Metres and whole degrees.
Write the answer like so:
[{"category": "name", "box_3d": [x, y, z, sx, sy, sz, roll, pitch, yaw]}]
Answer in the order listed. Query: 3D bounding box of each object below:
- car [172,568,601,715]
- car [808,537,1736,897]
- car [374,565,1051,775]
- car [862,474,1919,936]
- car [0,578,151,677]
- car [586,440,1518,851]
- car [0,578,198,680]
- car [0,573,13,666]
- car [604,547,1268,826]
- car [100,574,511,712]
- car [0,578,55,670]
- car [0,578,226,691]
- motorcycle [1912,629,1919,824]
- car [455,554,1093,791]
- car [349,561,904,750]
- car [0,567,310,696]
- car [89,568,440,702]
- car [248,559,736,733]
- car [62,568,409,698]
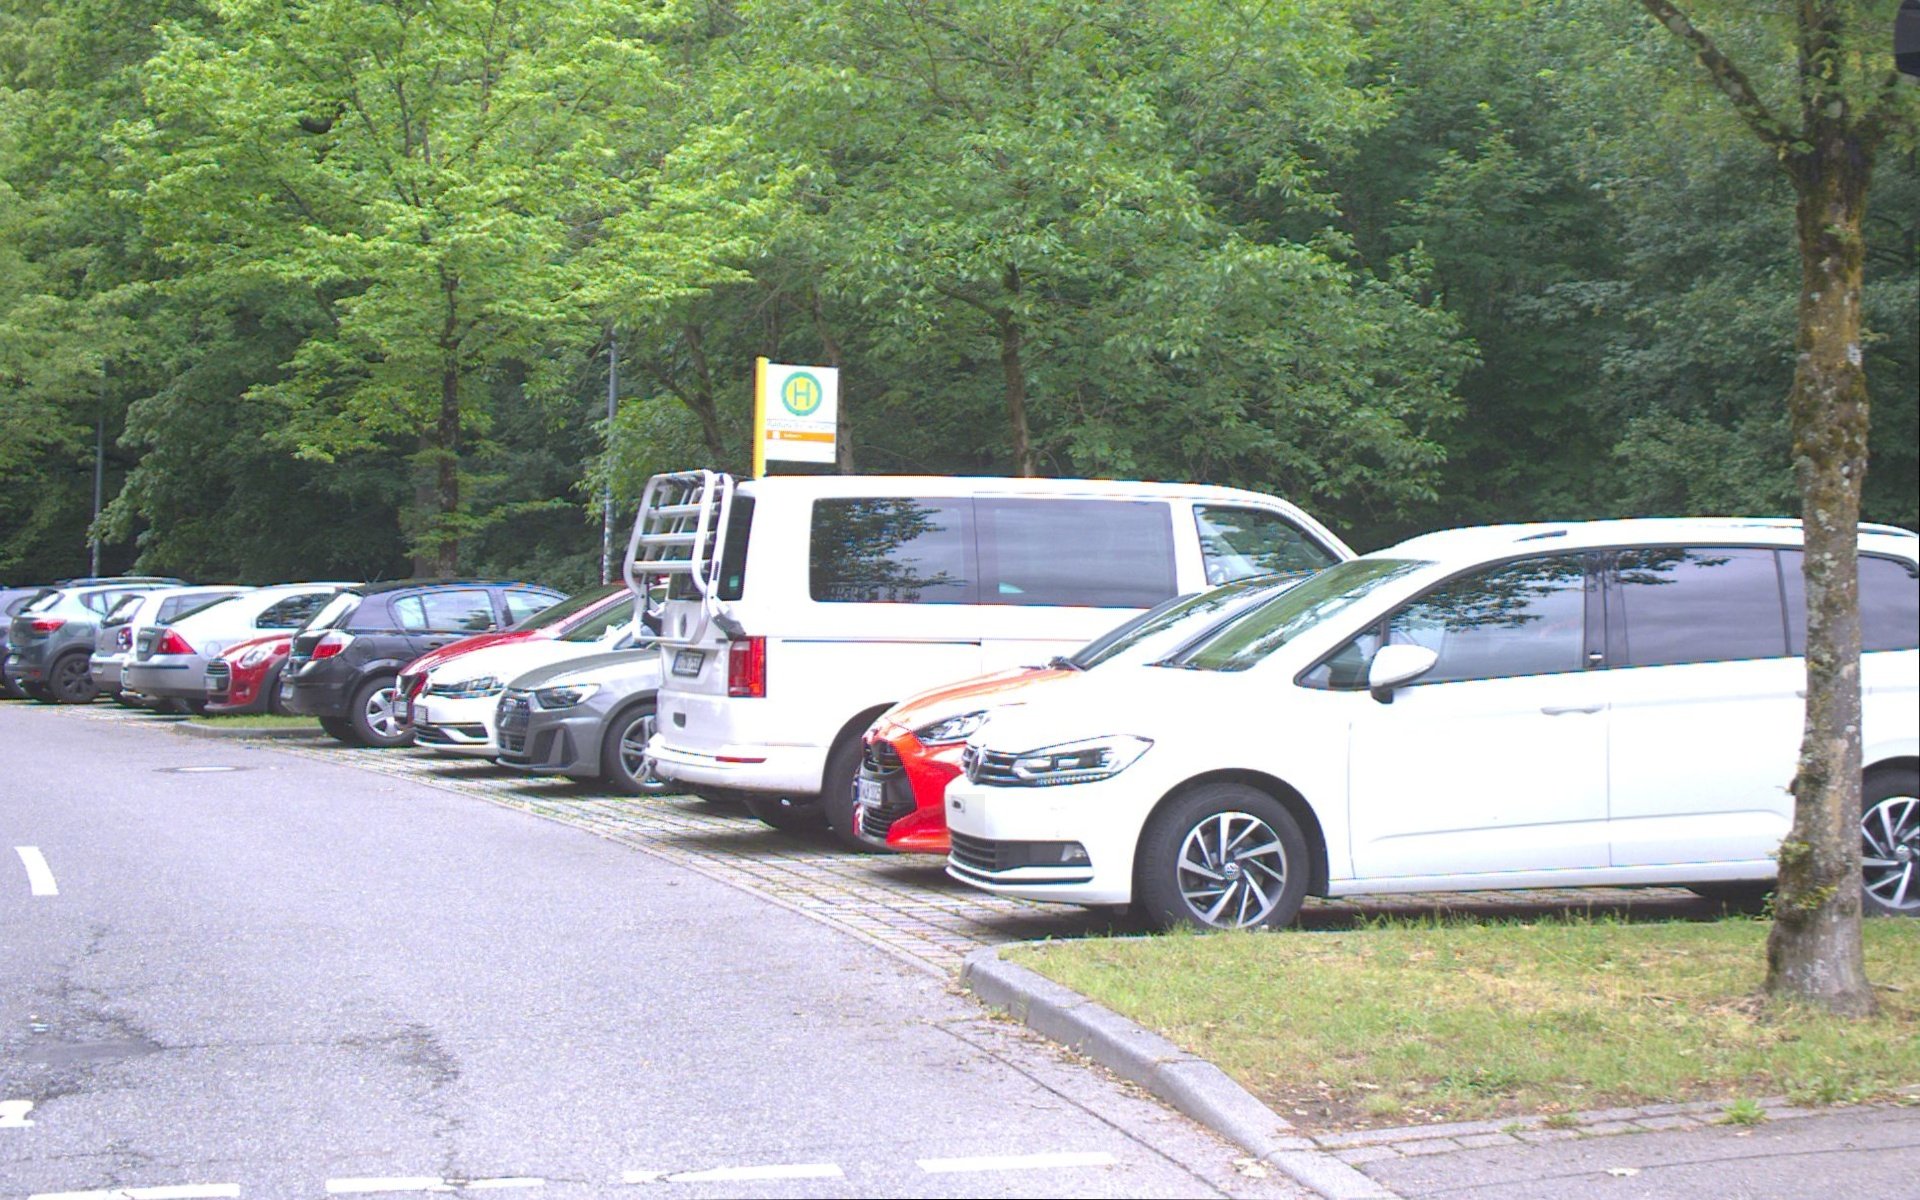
[{"category": "car", "box_3d": [-5.937, 0.397, 35.571, 3.986, 1.445, 1.941, 0, 0, -26]}, {"category": "car", "box_3d": [1.428, 0.535, 16.527, 3.996, 1.550, 1.947, 2, 1, -12]}, {"category": "car", "box_3d": [-1.881, 0.489, 25.974, 4.770, 1.471, 1.853, 0, 1, -19]}, {"category": "car", "box_3d": [2.033, 0.392, 14.115, 4.518, 1.687, 2.166, 0, 0, -13]}, {"category": "car", "box_3d": [-14.287, 0.400, 51.471, 3.795, 1.436, 1.870, 0, 1, -38]}, {"category": "car", "box_3d": [0.477, 0.251, 19.054, 4.647, 2.014, 2.084, 2, 1, -19]}, {"category": "car", "box_3d": [-13.062, 0.400, 48.980, 3.932, 1.406, 1.878, 0, 1, -30]}, {"category": "car", "box_3d": [-18.159, 0.303, 57.689, 4.008, 1.554, 1.978, 0, 1, -30]}, {"category": "car", "box_3d": [-0.174, 0.538, 21.720, 3.721, 1.549, 1.847, 2, 2, -20]}, {"category": "car", "box_3d": [-7.215, 0.453, 37.923, 4.125, 1.456, 1.865, 0, 0, -24]}, {"category": "car", "box_3d": [-16.874, 0.378, 55.500, 3.977, 1.479, 1.884, 0, 1, -34]}, {"category": "car", "box_3d": [-12.033, 0.450, 46.412, 3.768, 1.476, 1.774, 0, 1, -31]}, {"category": "motorcycle", "box_3d": [6.392, 0.775, 19.633, 0.674, 1.156, 2.012, 1, 1, -25]}, {"category": "car", "box_3d": [-1.302, 0.519, 23.763, 3.986, 1.478, 1.878, 2, -1, -20]}, {"category": "car", "box_3d": [-2.783, 0.443, 28.615, 4.227, 1.475, 1.920, 0, 0, -22]}, {"category": "car", "box_3d": [-10.471, 0.387, 44.120, 3.767, 1.584, 1.950, 0, 1, -27]}, {"category": "car", "box_3d": [-8.118, 0.397, 40.131, 3.701, 1.505, 1.751, 0, 0, -26]}, {"category": "car", "box_3d": [-4.204, 0.383, 30.809, 3.986, 1.478, 1.922, 0, 0, -22]}, {"category": "car", "box_3d": [-8.877, 0.388, 42.165, 3.842, 1.540, 1.730, 0, 0, -28]}]
